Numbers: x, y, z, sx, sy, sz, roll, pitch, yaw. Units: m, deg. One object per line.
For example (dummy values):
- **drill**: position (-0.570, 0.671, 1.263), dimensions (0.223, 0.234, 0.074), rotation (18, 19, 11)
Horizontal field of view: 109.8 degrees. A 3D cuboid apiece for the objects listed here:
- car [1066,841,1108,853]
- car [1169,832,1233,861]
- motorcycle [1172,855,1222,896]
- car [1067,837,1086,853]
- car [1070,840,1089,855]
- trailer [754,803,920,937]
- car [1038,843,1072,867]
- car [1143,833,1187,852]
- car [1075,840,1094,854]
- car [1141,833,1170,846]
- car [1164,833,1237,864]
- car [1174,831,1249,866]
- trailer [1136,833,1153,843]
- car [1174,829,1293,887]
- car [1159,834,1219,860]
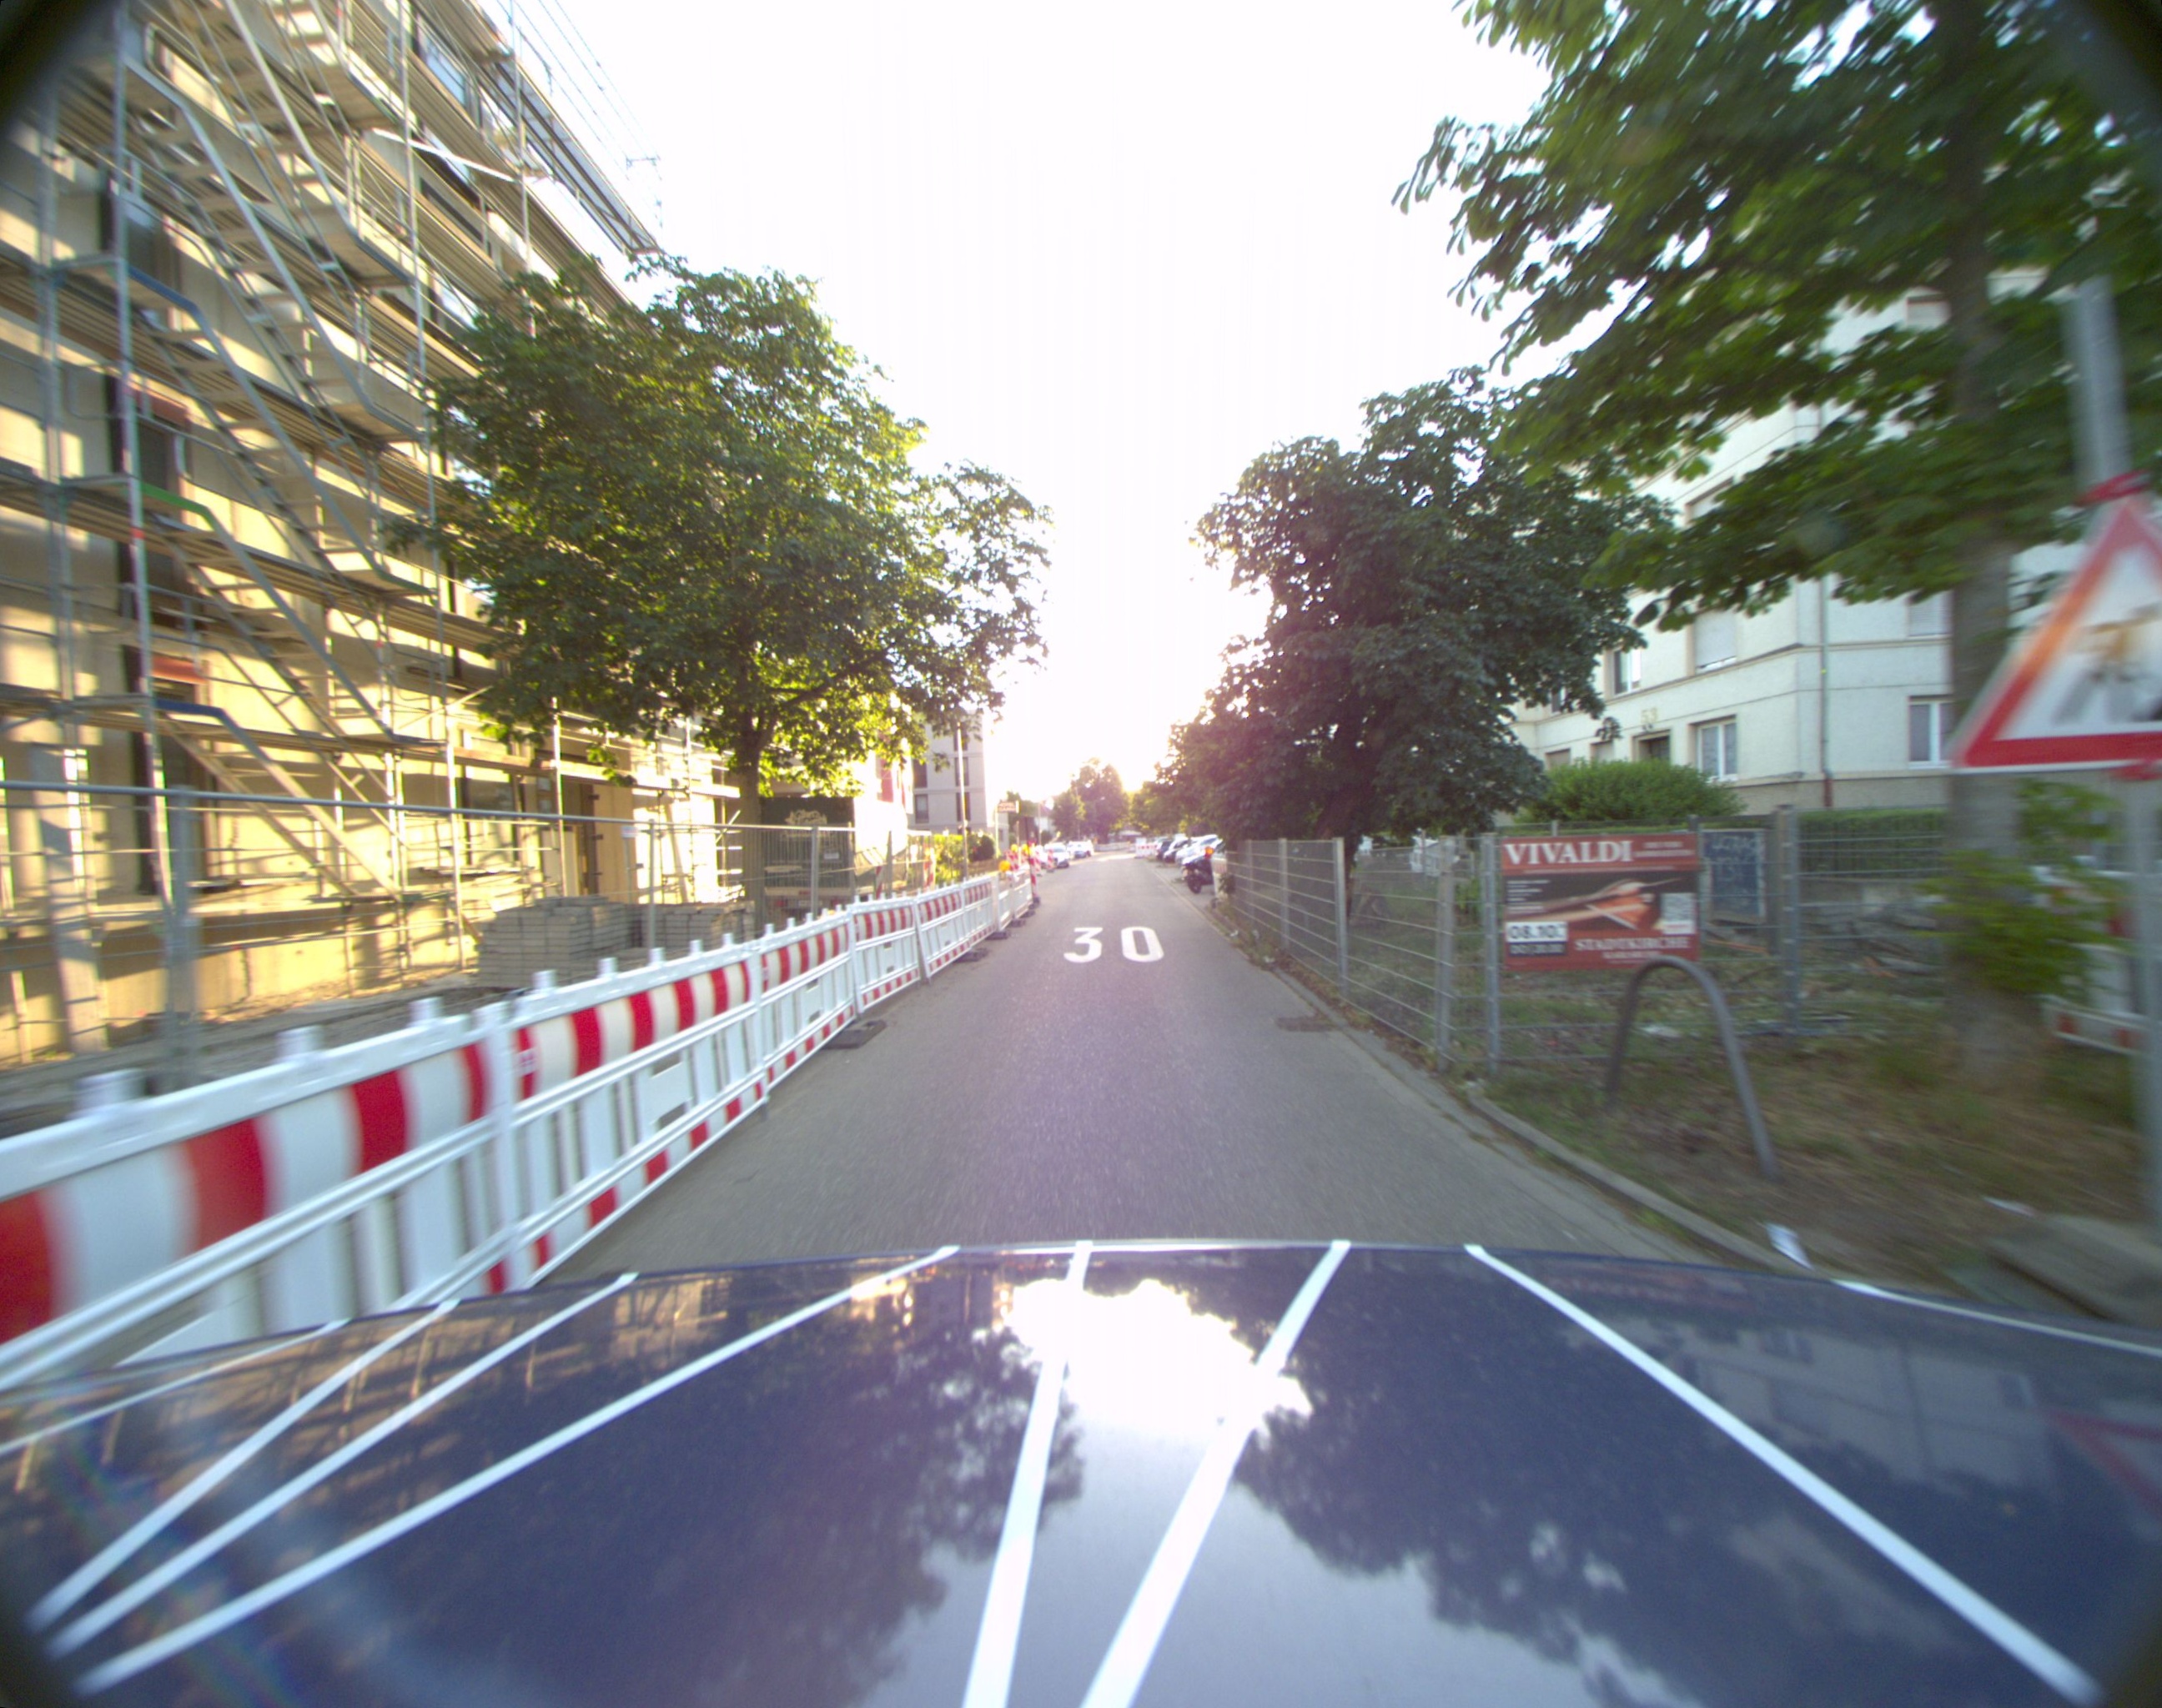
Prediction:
- **car**: position (0.748, -0.820, 89.724), dimensions (4.829, 1.390, 1.770), rotation (-1, 1, 4)
- **car**: position (7.330, -0.474, 46.561), dimensions (3.685, 1.476, 1.728), rotation (-3, 2, 5)
- **motorcycle**: position (3.443, 0.610, 22.317), dimensions (0.538, 1.015, 2.215), rotation (-4, 1, 32)
- **car**: position (-0.413, -0.854, 71.008), dimensions (1.618, 1.461, 3.996), rotation (-2, 1, 1)
- **car**: position (-0.138, -0.661, 76.618), dimensions (1.802, 1.461, 3.843), rotation (-2, 1, 1)
- **trailer**: position (-5.195, 0.287, 16.872), dimensions (1.998, 2.525, 4.186), rotation (-2, 1, 4)
- **car**: position (-1.593, 0.020, 48.301), dimensions (1.780, 1.389, 4.107), rotation (-2, 1, 3)
- **car**: position (7.557, -1.043, 68.458), dimensions (3.709, 1.475, 1.728), rotation (-4, 1, 1)
- **car**: position (0.434, -0.778, 81.469), dimensions (1.744, 1.461, 3.759), rotation (-2, 1, 4)
- **car**: position (12.480, -2.424, 127.375), dimensions (4.784, 2.058, 2.001), rotation (-2, 1, 8)
- **car**: position (6.801, -0.301, 43.536), dimensions (3.986, 1.481, 1.728), rotation (-3, 2, 5)
- **car**: position (6.758, -0.290, 39.564), dimensions (3.484, 1.557, 1.727), rotation (-4, 2, -2)
- **trailer**: position (15.928, -4.004, 189.829), dimensions (3.682, 2.057, 2.002), rotation (-3, 1, 17)
- **car**: position (5.071, 0.115, 25.666), dimensions (3.632, 1.548, 1.693), rotation (-5, 1, 3)
- **car**: position (6.941, -0.461, 49.193), dimensions (3.685, 1.437, 1.728), rotation (-3, 2, 5)
